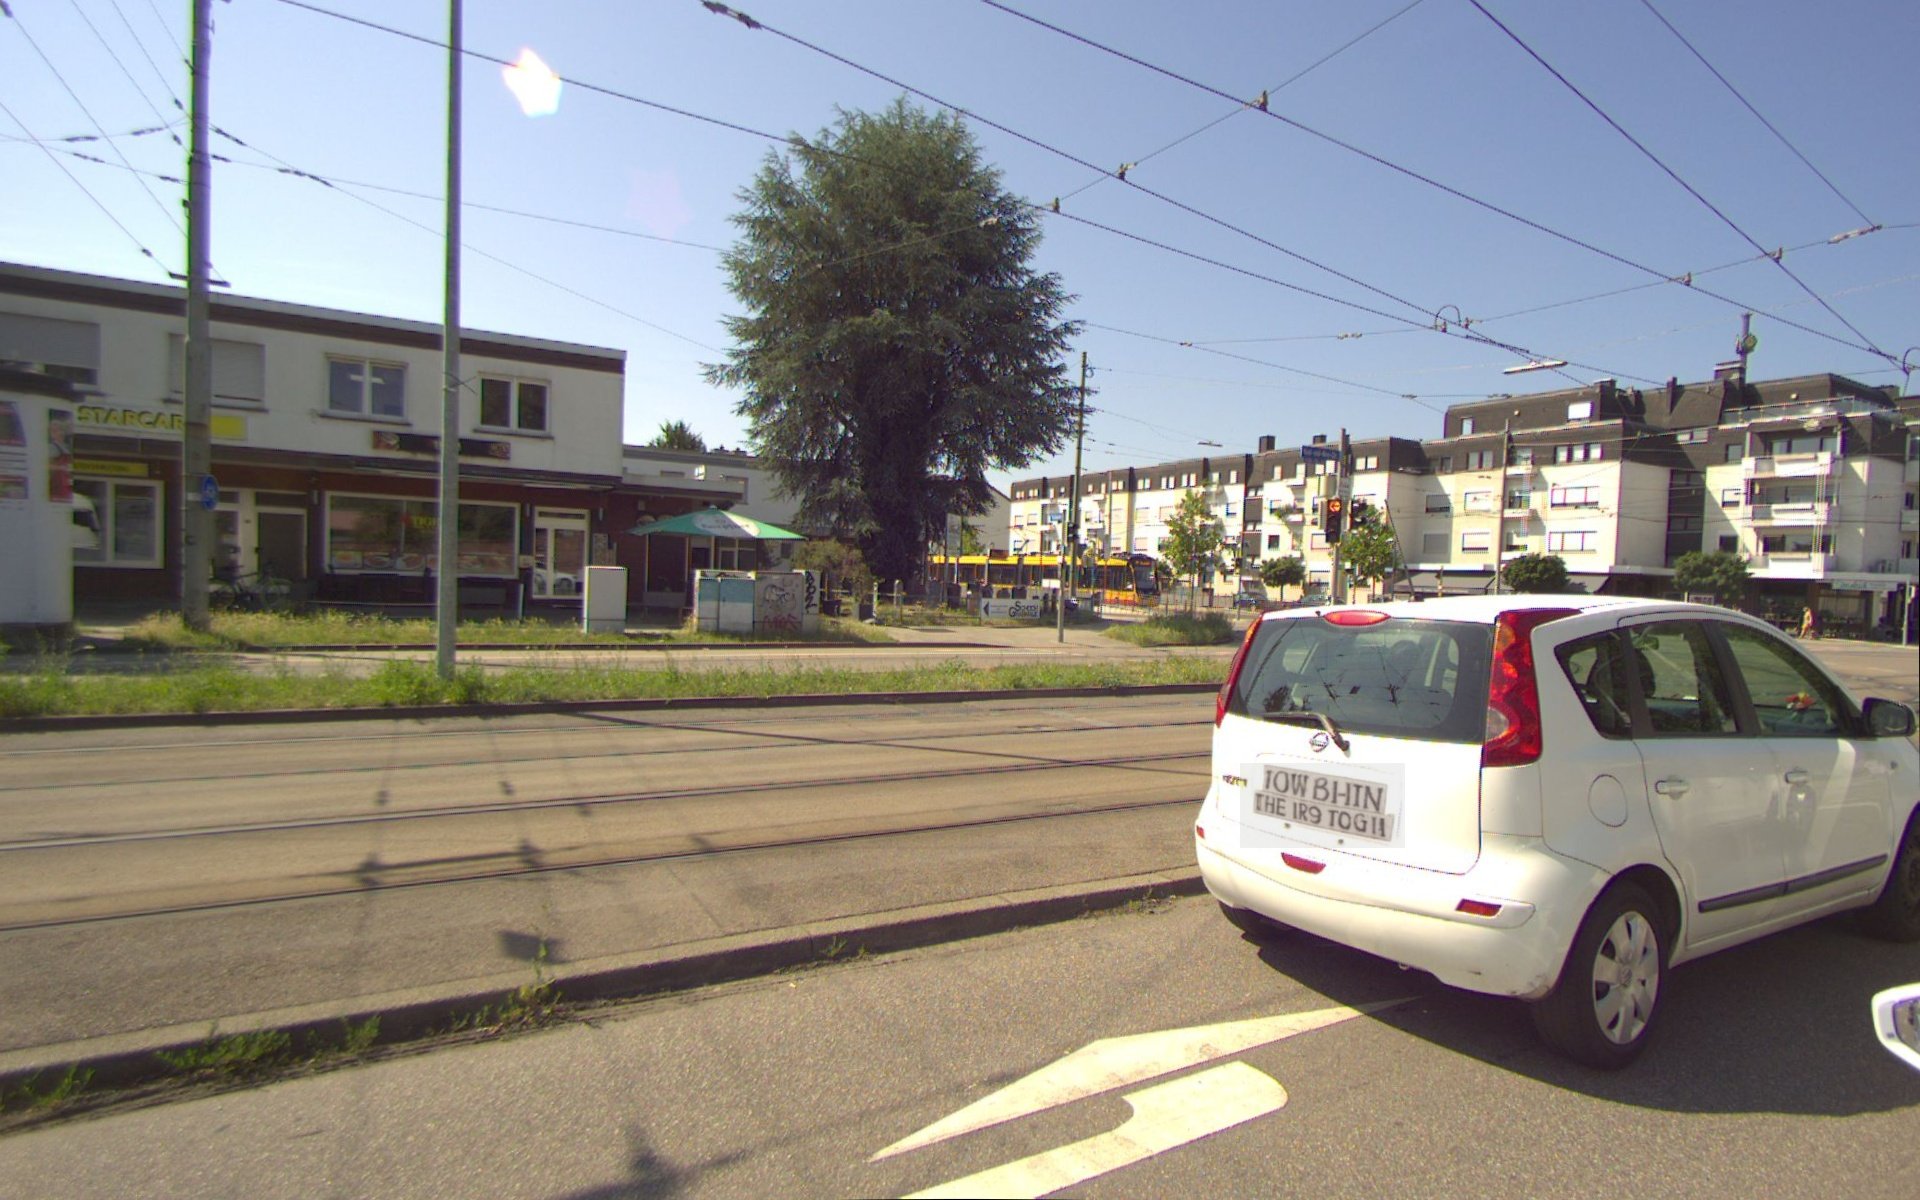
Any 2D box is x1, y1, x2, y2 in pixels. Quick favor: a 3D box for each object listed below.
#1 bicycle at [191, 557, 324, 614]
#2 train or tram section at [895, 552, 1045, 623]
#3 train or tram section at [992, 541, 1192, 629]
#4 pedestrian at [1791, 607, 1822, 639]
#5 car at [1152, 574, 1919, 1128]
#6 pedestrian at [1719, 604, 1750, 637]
[{"bbox_3d":[-15.513,-0.295,22.267,2.306,1.167,0.783,2,-1,-30],"label":"bicycle"},{"bbox_3d":[0.386,-0.932,83.282,4.681,5.217,16.122,2,-1,-30],"label":"train or tram section"},{"bbox_3d":[8.541,-0.898,69.380,4.681,5.217,16.122,2,-1,-30],"label":"train or tram section"},{"bbox_3d":[46.740,1.268,55.477,0.955,1.766,0.865,2,-1,7],"label":"pedestrian"},{"bbox_3d":[2.845,0.727,4.543,3.759,1.587,1.634,0,0,-31],"label":"car"},{"bbox_3d":[42.362,1.107,54.941,0.955,1.766,0.865,2,-1,2],"label":"pedestrian"}]
